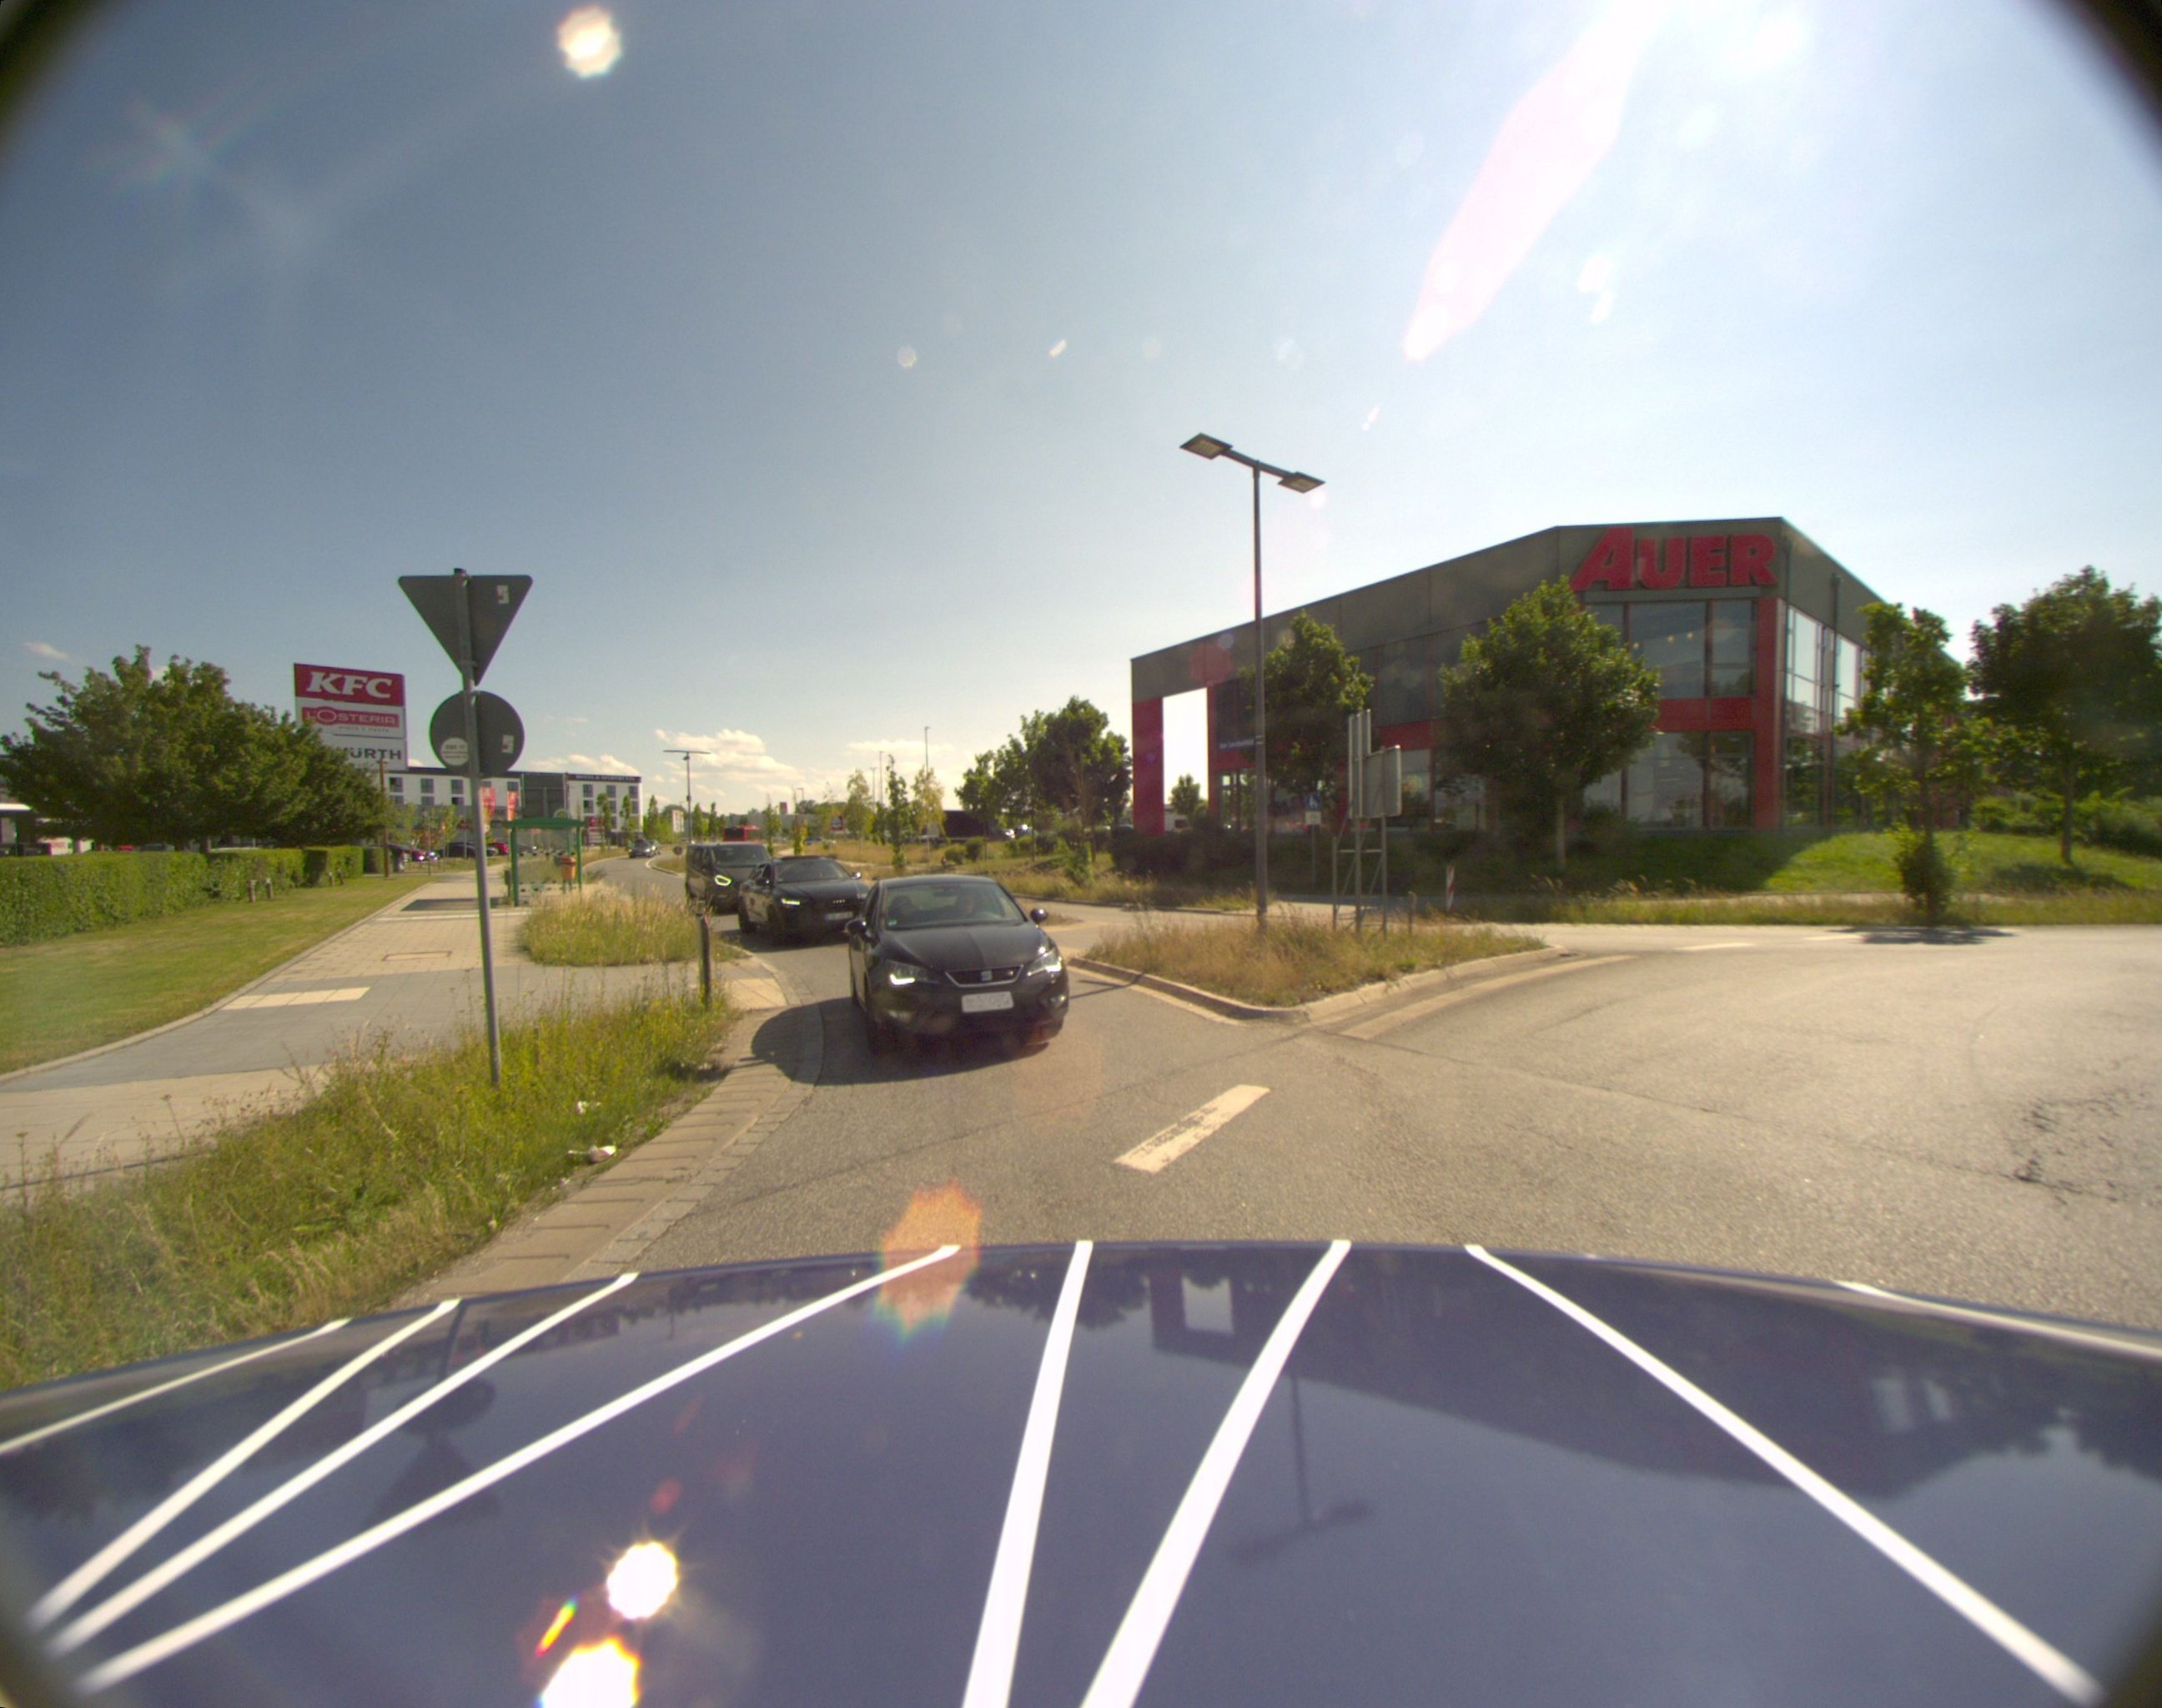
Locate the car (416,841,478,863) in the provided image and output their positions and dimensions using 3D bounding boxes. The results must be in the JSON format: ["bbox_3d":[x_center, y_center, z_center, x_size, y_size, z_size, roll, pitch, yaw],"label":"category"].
[{"bbox_3d":[-61.985,-0.235,74.324,4.191,2.002,1.929,-1,2,-22],"label":"car"}]

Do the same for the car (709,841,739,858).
[{"bbox_3d":[-30.322,-0.421,64.697,1.799,1.408,4.374,-1,2,-19],"label":"car"}]

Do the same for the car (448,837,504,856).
[{"bbox_3d":[-64.678,-0.831,81.309,4.192,2.002,1.929,-1,2,-24],"label":"car"}]

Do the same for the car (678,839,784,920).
[{"bbox_3d":[-10.736,0.649,23.123,2.084,2.037,4.669,-5,4,-34],"label":"car"}]

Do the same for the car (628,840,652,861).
[{"bbox_3d":[-40.989,-0.364,70.656,1.733,1.893,3.990,-2,2,-28],"label":"car"}]

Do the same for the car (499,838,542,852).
[{"bbox_3d":[-67.035,-1.045,90.928,3.829,1.610,1.753,-1,2,-23],"label":"car"}]

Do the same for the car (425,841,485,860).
[{"bbox_3d":[-62.957,-0.344,76.513,4.190,1.847,1.800,-1,2,-18],"label":"car"}]

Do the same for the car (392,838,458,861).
[{"bbox_3d":[-60.867,-0.473,70.599,4.191,2.002,1.929,-1,2,-22],"label":"car"}]

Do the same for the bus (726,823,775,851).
[{"bbox_3d":[-41.375,-2.184,95.675,2.617,3.223,11.868,-1,2,-8],"label":"bus"}]

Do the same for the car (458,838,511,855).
[{"bbox_3d":[-66.071,-0.835,84.239,4.190,1.752,1.820,-1,2,-19],"label":"car"}]

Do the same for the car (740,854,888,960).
[{"bbox_3d":[-5.670,0.957,15.817,1.866,1.679,3.989,-5,4,-34],"label":"car"}]

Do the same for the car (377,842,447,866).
[{"bbox_3d":[-59.533,-0.044,67.720,4.191,2.002,1.929,-1,2,-21],"label":"car"}]

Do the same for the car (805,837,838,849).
[{"bbox_3d":[-35.826,-1.540,104.918,3.945,1.667,1.618,-1,1,-4],"label":"car"}]

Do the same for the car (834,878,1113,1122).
[{"bbox_3d":[-1.339,1.096,7.509,1.865,1.460,3.992,-1,2,-21],"label":"car"}]
